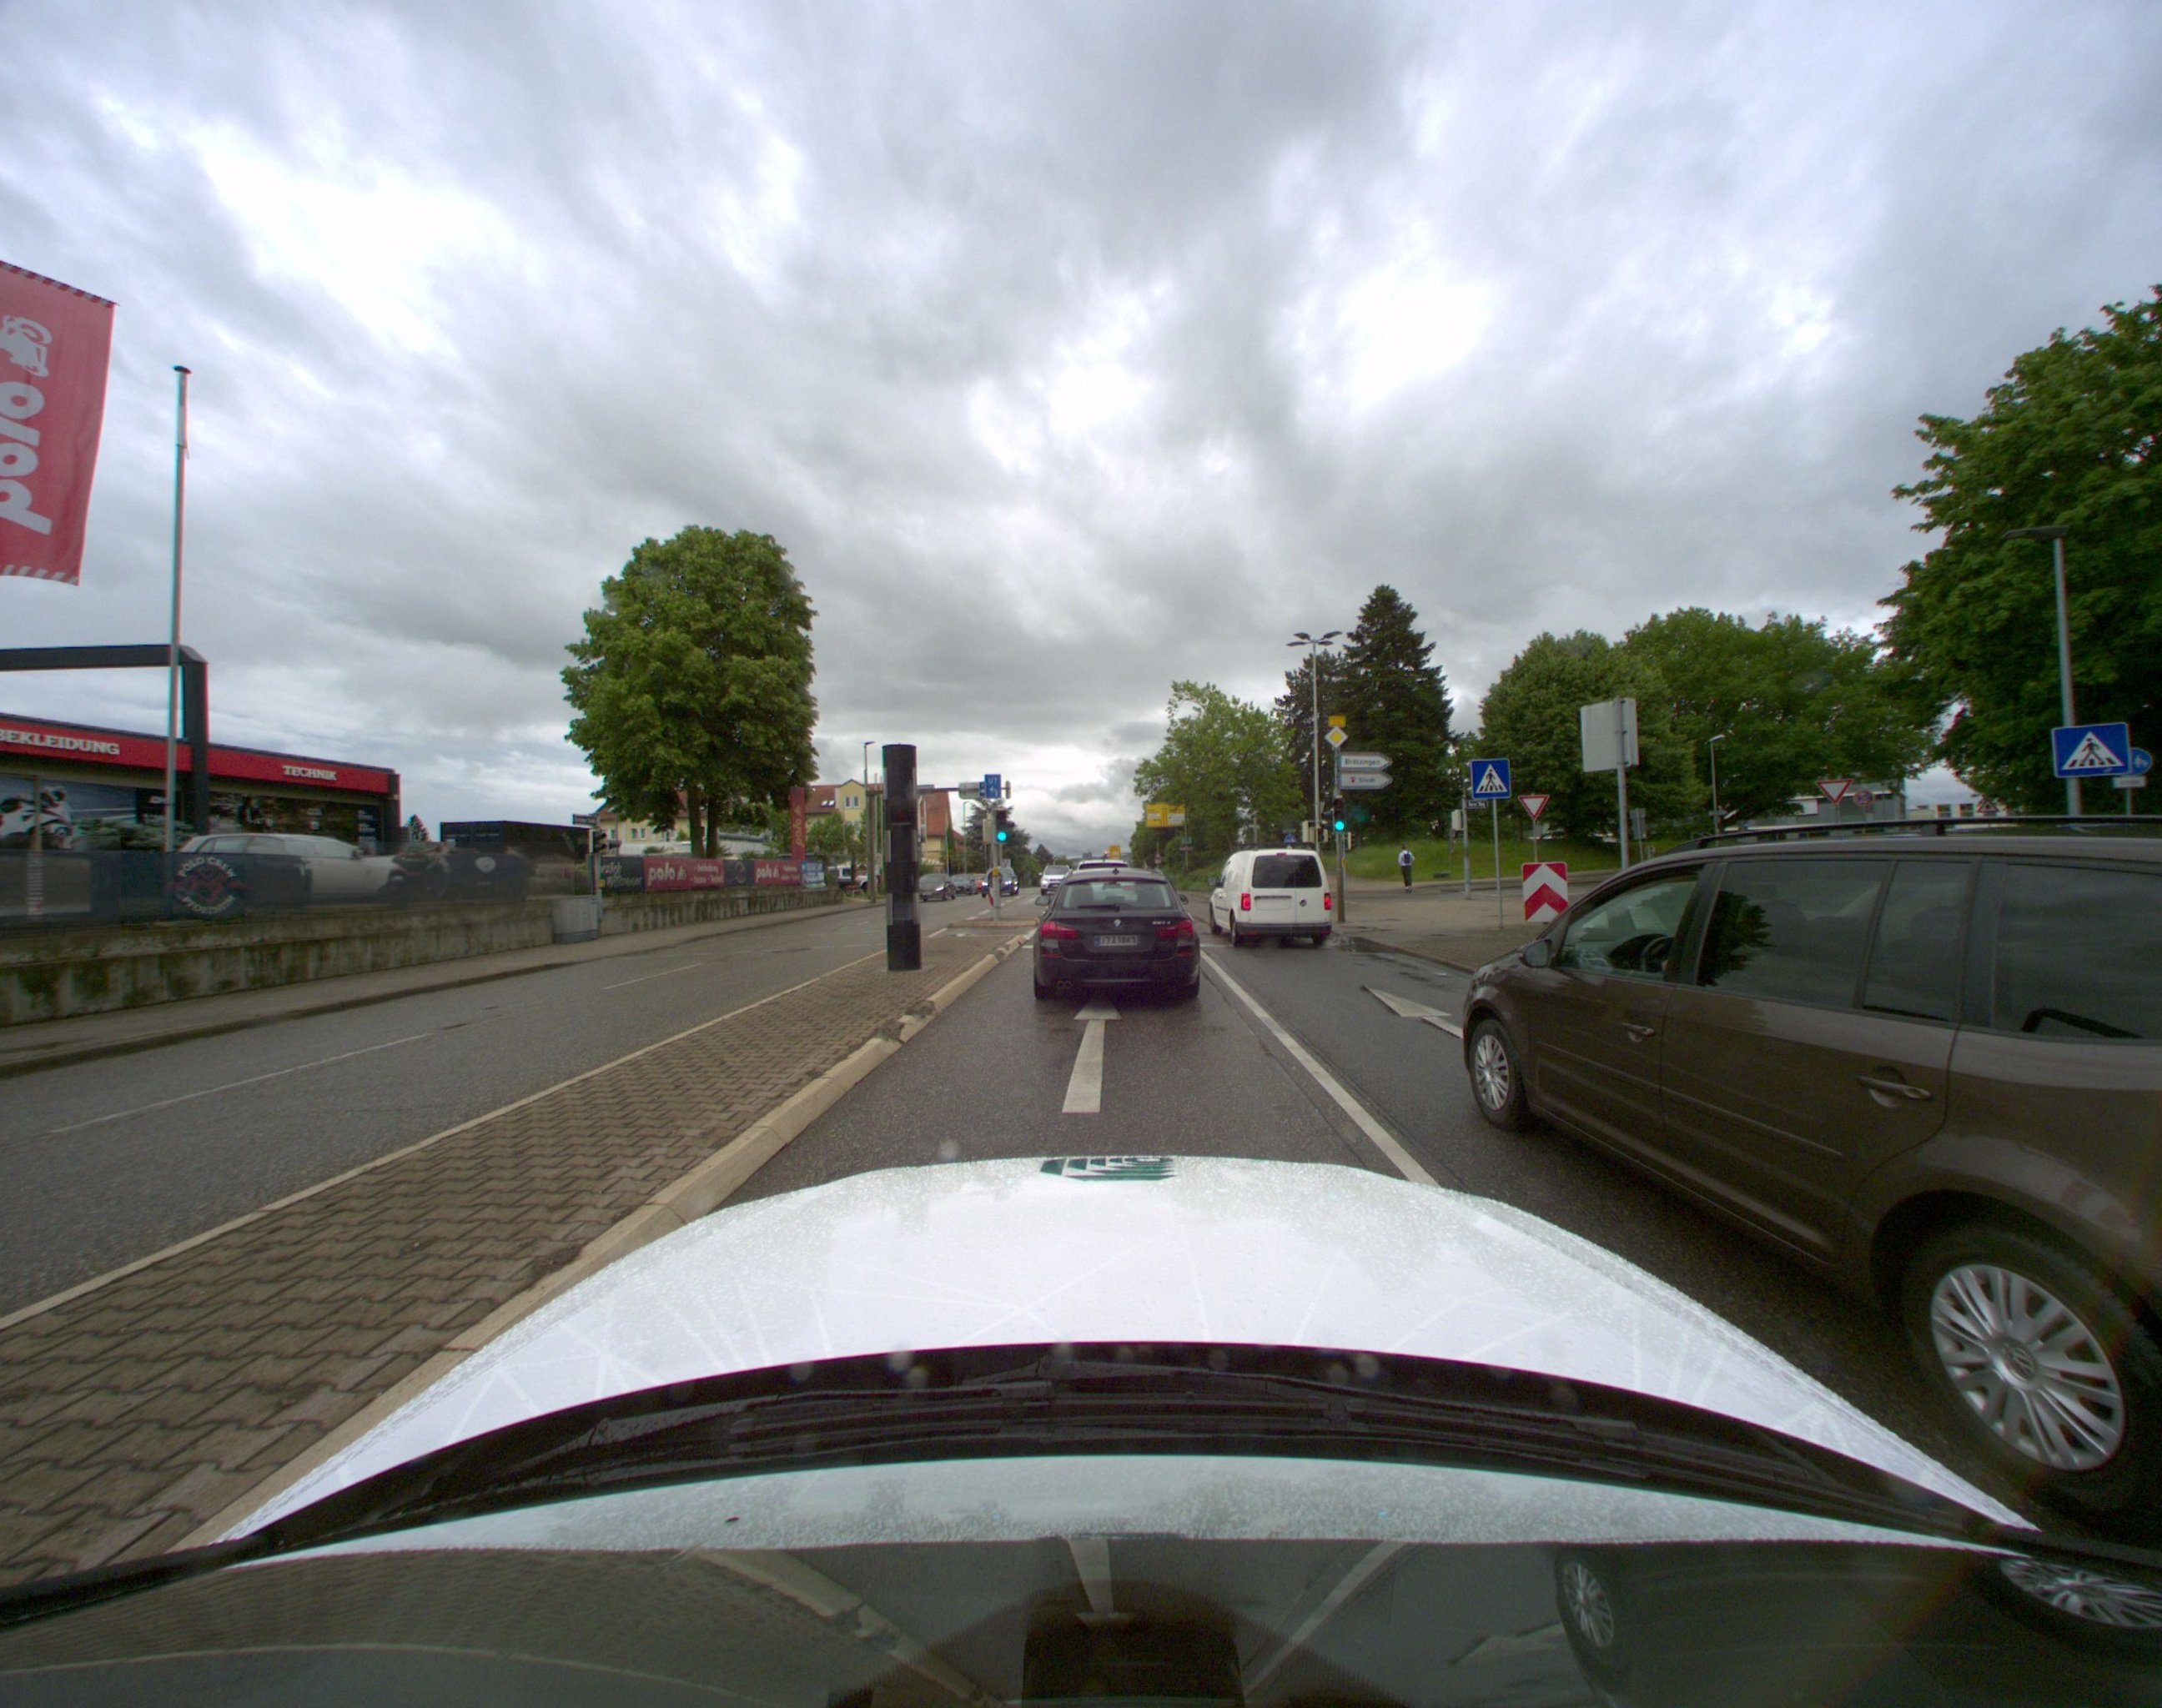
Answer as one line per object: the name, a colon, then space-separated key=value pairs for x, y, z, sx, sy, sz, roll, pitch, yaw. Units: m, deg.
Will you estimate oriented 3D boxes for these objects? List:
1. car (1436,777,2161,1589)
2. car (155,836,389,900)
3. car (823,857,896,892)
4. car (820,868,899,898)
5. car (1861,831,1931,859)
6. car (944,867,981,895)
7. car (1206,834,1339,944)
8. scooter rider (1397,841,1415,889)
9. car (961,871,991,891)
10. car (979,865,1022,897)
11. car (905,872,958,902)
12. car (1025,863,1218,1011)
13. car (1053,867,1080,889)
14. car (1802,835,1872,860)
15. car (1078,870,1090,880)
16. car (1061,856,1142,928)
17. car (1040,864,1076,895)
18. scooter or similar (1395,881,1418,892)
car: x=3.062 y=0.663 z=3.162 sx=1.740 sy=1.609 sz=3.982 roll=-1 pitch=-1 yaw=2
car: x=-16.881 y=0.286 z=17.104 sx=3.376 sy=1.167 sz=1.453 roll=-2 pitch=0 yaw=-1
car: x=-14.867 y=1.374 z=54.677 sx=4.410 sy=2.013 sz=1.982 roll=-3 pitch=-1 yaw=-27
car: x=-15.596 y=2.010 z=57.327 sx=5.024 sy=1.702 sz=1.982 roll=-3 pitch=-3 yaw=-27
car: x=61.875 y=-0.675 z=61.845 sx=3.990 sy=1.859 sz=1.844 roll=-3 pitch=-2 yaw=-12
car: x=-7.847 y=1.764 z=54.123 sx=1.670 sy=1.618 sz=4.001 roll=-3 pitch=0 yaw=1
car: x=3.598 y=0.615 z=15.984 sx=1.758 sy=1.877 sz=3.806 roll=-1 pitch=0 yaw=1
scooter rider: x=13.631 y=0.450 z=34.145 sx=0.499 sy=1.965 sz=0.548 roll=-2 pitch=0 yaw=1
car: x=-7.741 y=1.962 z=60.250 sx=1.617 sy=1.332 sz=3.947 roll=-3 pitch=0 yaw=1
car: x=-4.541 y=1.507 z=46.461 sx=1.833 sy=1.649 sz=4.297 roll=-3 pitch=-1 yaw=1
car: x=-7.893 y=1.719 z=43.439 sx=1.910 sy=1.379 sz=4.126 roll=-3 pitch=-1 yaw=1
car: x=0.472 y=0.870 z=10.065 sx=1.891 sy=1.442 sz=4.001 roll=-1 pitch=-2 yaw=2
car: x=-0.976 y=1.641 z=56.212 sx=1.626 sy=1.434 sz=4.144 roll=-1 pitch=-2 yaw=1
car: x=52.700 y=-0.455 z=56.791 sx=3.999 sy=1.428 sz=1.840 roll=-3 pitch=-2 yaw=-19
car: x=0.553 y=3.519 z=137.269 sx=1.861 sy=1.673 sz=4.002 roll=-1 pitch=0 yaw=2
car: x=0.559 y=0.897 z=21.026 sx=1.861 sy=1.673 sz=4.002 roll=-1 pitch=0 yaw=2
car: x=-1.274 y=1.423 z=46.659 sx=1.833 sy=1.649 sz=4.297 roll=-2 pitch=-1 yaw=1
scooter or similar: x=13.658 y=1.343 z=34.203 sx=0.485 sy=0.403 sz=1.256 roll=-2 pitch=0 yaw=1
